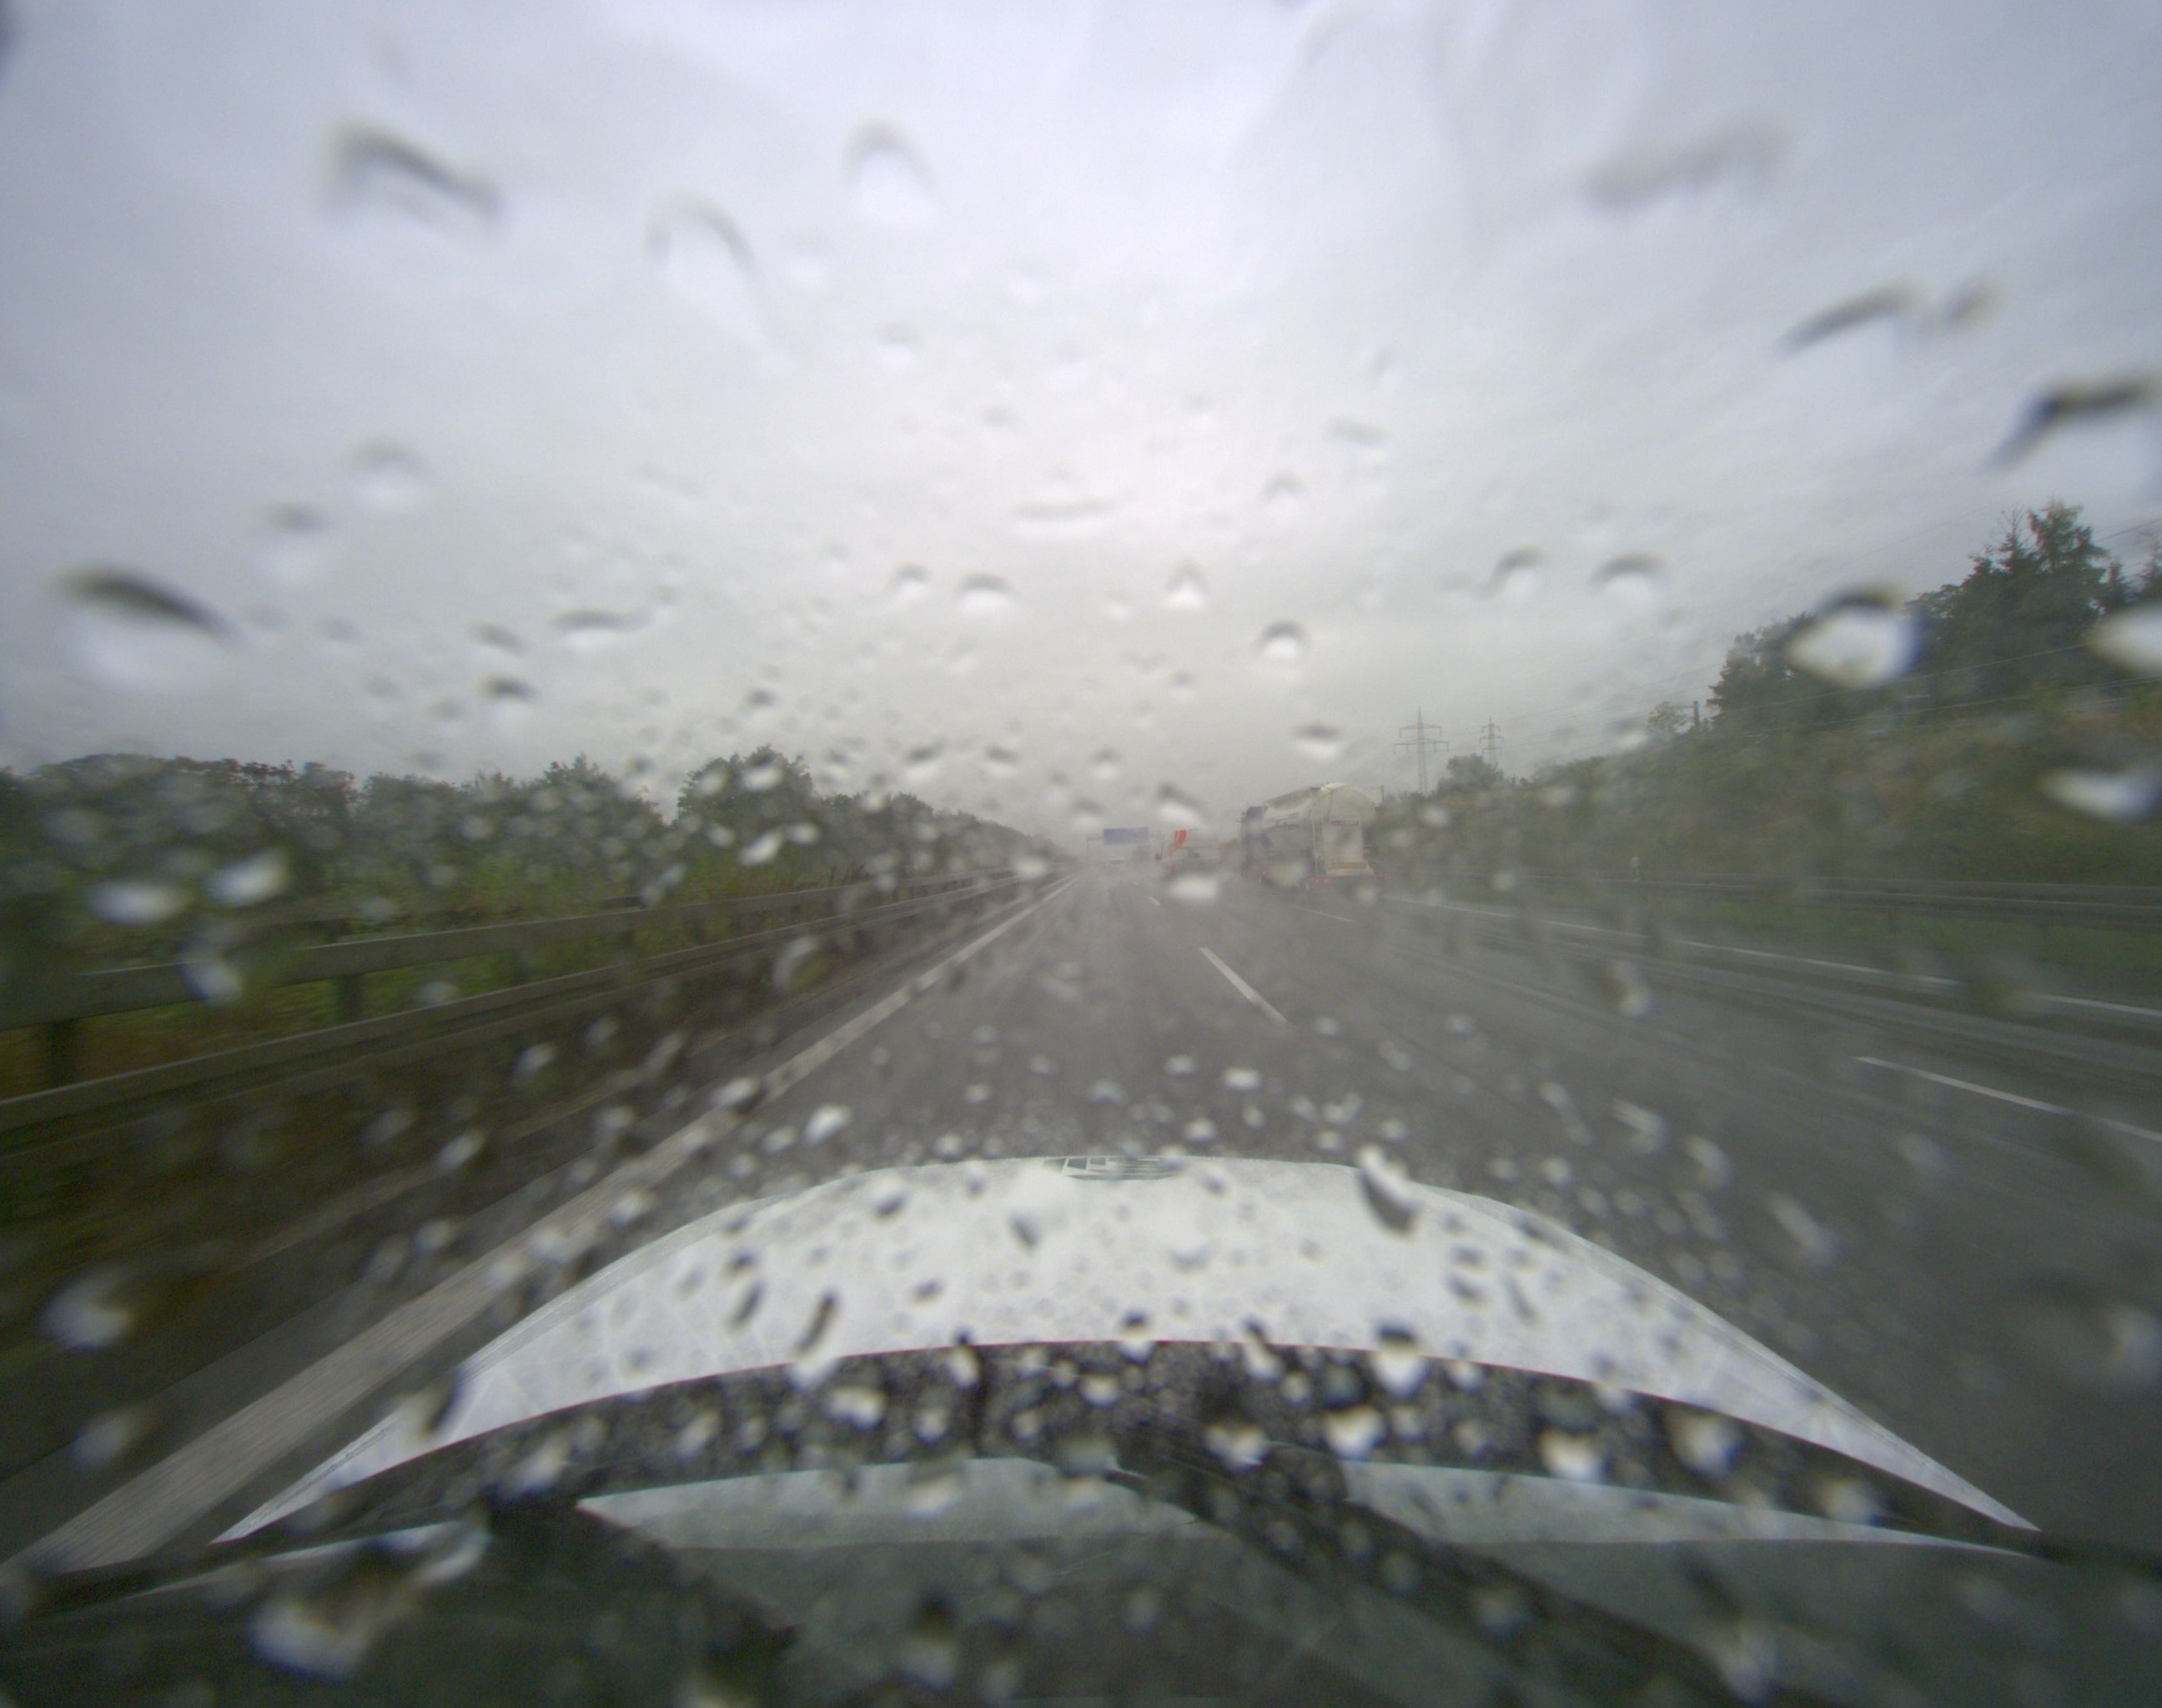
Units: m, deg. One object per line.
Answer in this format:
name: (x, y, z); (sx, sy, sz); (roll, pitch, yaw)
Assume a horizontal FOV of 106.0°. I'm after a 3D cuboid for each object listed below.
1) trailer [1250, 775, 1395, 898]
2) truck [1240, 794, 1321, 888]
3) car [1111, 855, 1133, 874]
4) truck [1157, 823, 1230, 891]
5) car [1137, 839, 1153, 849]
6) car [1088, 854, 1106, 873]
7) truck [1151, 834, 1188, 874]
trailer: (8.827, -0.564, 31.446); (2.488, 3.882, 11.068); (-1, 0, 1)
truck: (8.976, -0.559, 37.139); (2.488, 3.983, 5.076); (-1, 0, 1)
car: (3.092, 0.782, 62.594); (1.599, 1.338, 3.849); (-1, 0, 1)
truck: (4.432, 0.117, 33.061); (2.410, 2.492, 5.563); (-1, 0, 2)
car: (12.664, -1.963, 161.870); (2.778, 2.013, 4.994); (-1, 0, 1)
car: (1.576, 0.884, 80.974); (1.695, 1.818, 3.864); (-1, 0, 2)
truck: (10.931, 0.167, 101.965); (3.029, 4.588, 16.351); (-1, -1, 1)
